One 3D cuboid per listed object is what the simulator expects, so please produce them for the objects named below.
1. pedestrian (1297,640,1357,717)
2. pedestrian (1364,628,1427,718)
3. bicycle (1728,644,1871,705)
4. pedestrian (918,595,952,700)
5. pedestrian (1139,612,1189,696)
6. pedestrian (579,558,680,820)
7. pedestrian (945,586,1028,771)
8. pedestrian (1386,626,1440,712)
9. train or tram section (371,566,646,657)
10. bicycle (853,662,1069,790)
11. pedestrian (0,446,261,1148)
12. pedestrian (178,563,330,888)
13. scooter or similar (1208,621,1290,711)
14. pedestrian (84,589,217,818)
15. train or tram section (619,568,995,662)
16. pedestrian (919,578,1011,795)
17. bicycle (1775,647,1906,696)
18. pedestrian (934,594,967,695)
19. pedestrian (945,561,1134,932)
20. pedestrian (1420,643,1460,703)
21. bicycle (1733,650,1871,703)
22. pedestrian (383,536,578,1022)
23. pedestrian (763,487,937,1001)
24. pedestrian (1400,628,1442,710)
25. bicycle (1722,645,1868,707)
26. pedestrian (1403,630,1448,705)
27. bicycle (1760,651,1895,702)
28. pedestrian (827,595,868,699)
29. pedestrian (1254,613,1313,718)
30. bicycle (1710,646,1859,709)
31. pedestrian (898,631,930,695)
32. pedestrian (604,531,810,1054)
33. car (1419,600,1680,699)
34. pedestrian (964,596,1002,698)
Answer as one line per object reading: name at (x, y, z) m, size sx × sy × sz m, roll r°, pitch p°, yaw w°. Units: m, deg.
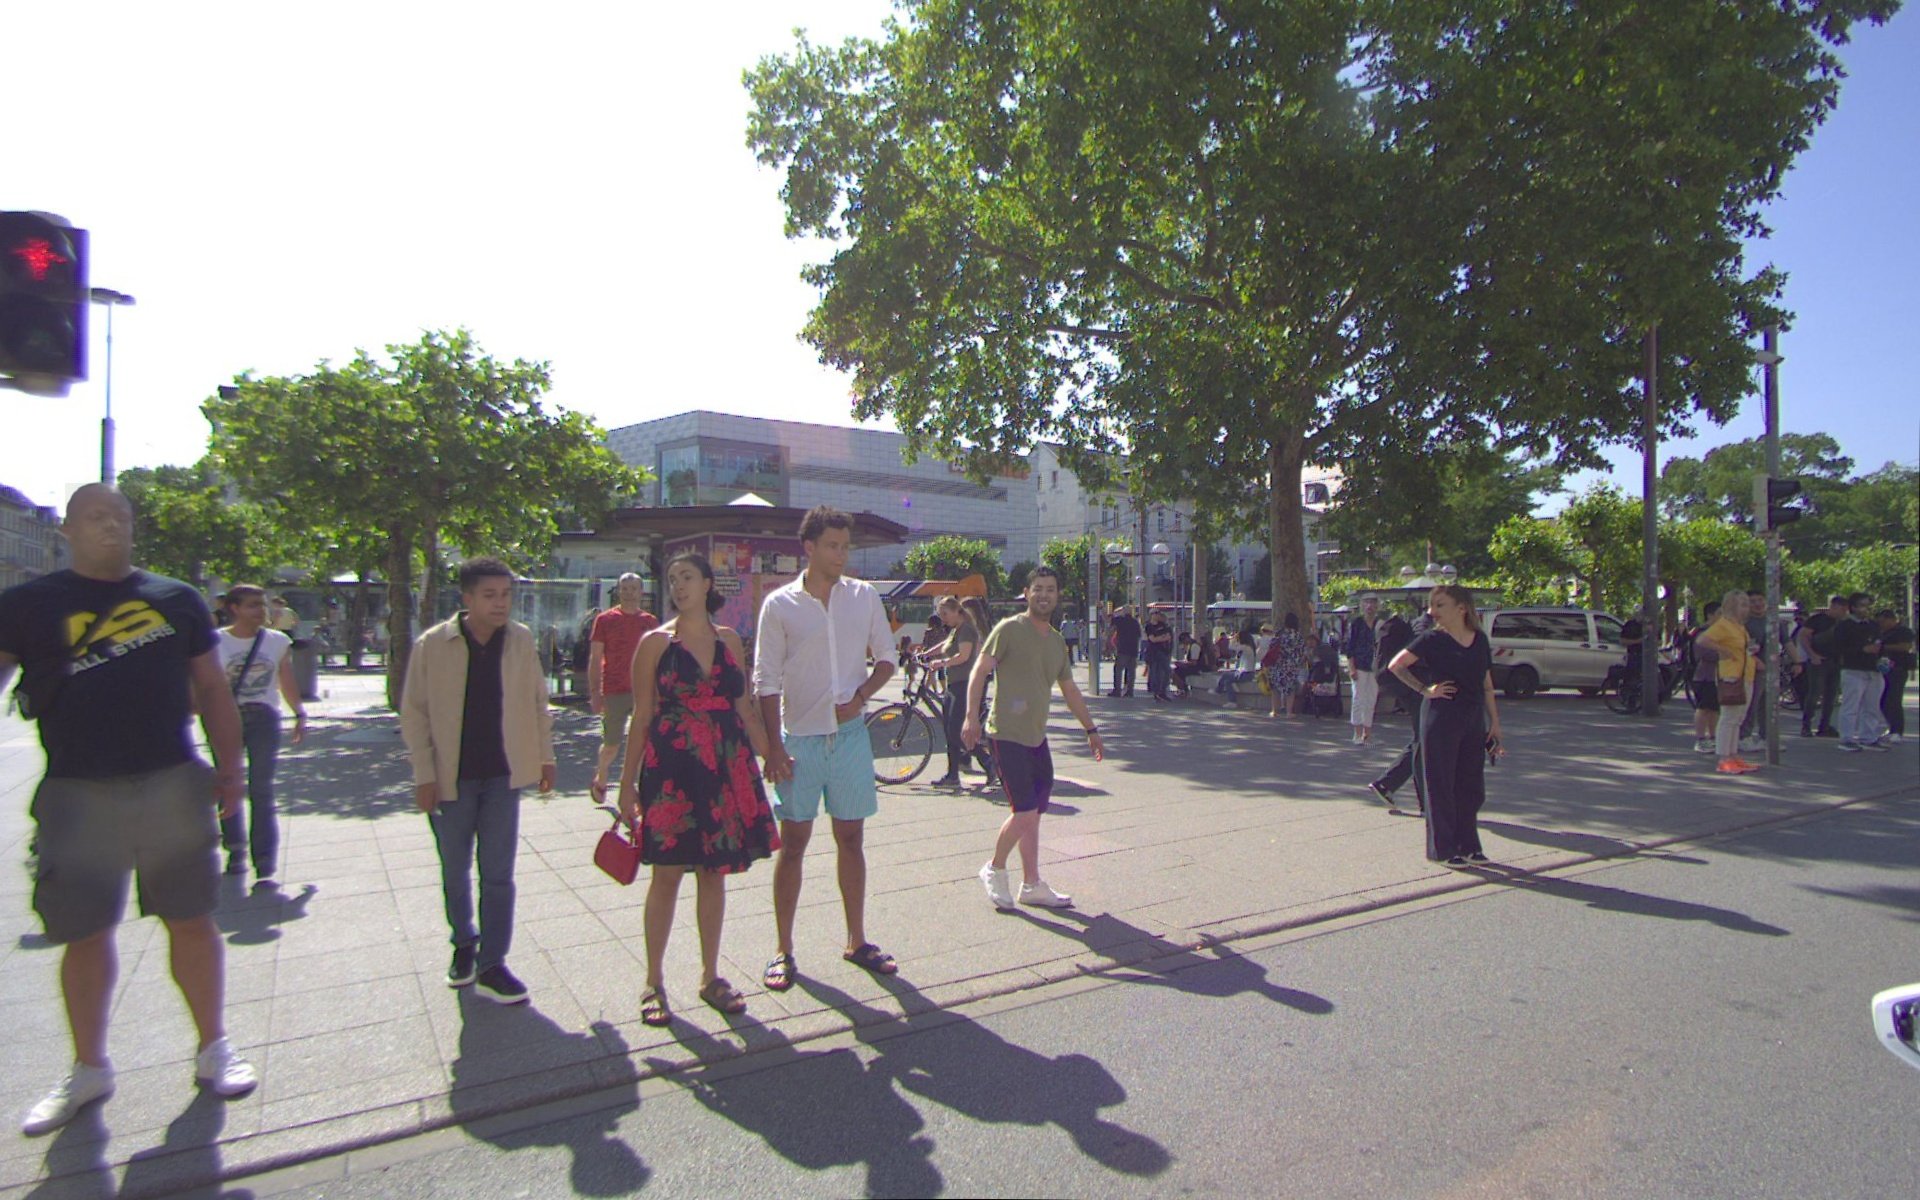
pedestrian at (5.711, 1.207, 15.659) m, size 0.653 × 1.159 × 0.634 m, roll 1°, pitch -1°, yaw -9°
pedestrian at (7.086, 1.166, 16.357) m, size 0.659 × 1.404 × 0.725 m, roll 1°, pitch -1°, yaw -37°
bicycle at (16.424, 1.433, 19.700) m, size 0.679 × 1.104 × 2.064 m, roll 2°, pitch -2°, yaw -41°
pedestrian at (-0.458, 0.866, 18.474) m, size 0.555 × 1.883 × 0.509 m, roll 1°, pitch -1°, yaw -9°
pedestrian at (3.704, 0.970, 18.267) m, size 0.717 × 1.498 × 0.634 m, roll 1°, pitch -1°, yaw -9°
pedestrian at (-2.545, 0.649, 7.704) m, size 0.655 × 1.904 × 0.628 m, roll 1°, pitch 0°, yaw -24°
pedestrian at (0.255, 0.740, 9.798) m, size 0.598 × 1.734 × 0.574 m, roll 1°, pitch 0°, yaw -24°
pedestrian at (7.633, 1.142, 16.932) m, size 0.651 × 1.404 × 0.661 m, roll 0°, pitch -1°, yaw 45°
train or tram section at (-19.152, 0.503, 42.829) m, size 10.779 × 3.725 × 2.623 m, roll 0°, pitch -1°, yaw 5°
bicycle at (0.017, 1.107, 9.099) m, size 1.903 × 1.042 × 0.489 m, roll 0°, pitch -1°, yaw -18°
pedestrian at (-2.591, 0.542, 3.082) m, size 0.645 × 1.916 × 0.573 m, roll 1°, pitch 0°, yaw -28°
pedestrian at (-4.074, 0.687, 5.833) m, size 0.598 × 1.762 × 0.574 m, roll 1°, pitch 0°, yaw -24°
scooter or similar at (4.818, 1.081, 16.829) m, size 1.018 × 1.439 × 1.281 m, roll 0°, pitch -1°, yaw 0°
pedestrian at (-5.796, 0.708, 7.220) m, size 0.598 × 1.553 × 0.574 m, roll 1°, pitch 0°, yaw -24°
train or tram section at (-6.216, 0.603, 41.662) m, size 15.233 × 3.725 × 2.623 m, roll 0°, pitch -1°, yaw 5°
pedestrian at (0.035, 0.725, 8.746) m, size 0.598 × 1.803 × 0.574 m, roll 1°, pitch 0°, yaw -24°
bicycle at (19.103, 1.533, 21.825) m, size 0.679 × 0.993 × 2.064 m, roll 2°, pitch -3°, yaw -41°
pedestrian at (-0.188, 0.840, 19.109) m, size 0.555 × 1.883 × 0.509 m, roll 1°, pitch -1°, yaw -9°
pedestrian at (0.404, 0.698, 5.182) m, size 0.779 × 1.745 × 0.582 m, roll 1°, pitch -1°, yaw -28°
pedestrian at (9.125, 1.377, 19.117) m, size 0.617 × 1.108 × 0.511 m, roll 0°, pitch -1°, yaw 16°
bicycle at (17.127, 1.538, 20.472) m, size 0.679 × 0.993 × 2.064 m, roll 2°, pitch -3°, yaw -41°
pedestrian at (-1.937, 0.655, 4.062) m, size 0.645 × 1.770 × 0.573 m, roll 1°, pitch 0°, yaw -28°
pedestrian at (-0.465, 0.550, 4.173) m, size 0.553 × 1.944 × 0.529 m, roll 1°, pitch -1°, yaw -28°
pedestrian at (8.072, 1.188, 17.589) m, size 0.648 × 1.404 × 0.664 m, roll 0°, pitch -1°, yaw 26°
bicycle at (15.947, 1.430, 19.236) m, size 0.679 × 1.104 × 2.064 m, roll 2°, pitch -2°, yaw -41°
pedestrian at (8.657, 1.244, 18.706) m, size 0.690 × 1.366 × 0.511 m, roll 0°, pitch -1°, yaw 17°
bicycle at (18.169, 1.584, 21.087) m, size 0.679 × 0.993 × 2.064 m, roll 2°, pitch -3°, yaw -41°
pedestrian at (-2.085, 0.853, 18.537) m, size 0.717 × 1.883 × 0.608 m, roll 1°, pitch -1°, yaw -9°
pedestrian at (4.966, 0.992, 15.429) m, size 0.653 × 1.586 × 0.634 m, roll 1°, pitch -1°, yaw -9°
bicycle at (15.414, 1.420, 18.822) m, size 0.679 × 1.104 × 2.064 m, roll 2°, pitch -2°, yaw -41°
pedestrian at (-0.870, 1.174, 18.929) m, size 0.555 × 1.174 × 0.509 m, roll 1°, pitch -1°, yaw -9°
pedestrian at (-0.975, 0.664, 3.839) m, size 0.630 × 1.781 × 0.574 m, roll 1°, pitch -1°, yaw -28°
car at (12.395, 1.027, 21.258) m, size 4.674 × 1.981 × 1.862 m, roll 1°, pitch -1°, yaw -9°
pedestrian at (0.438, 0.867, 18.774) m, size 0.537 × 1.883 × 0.504 m, roll 0°, pitch -1°, yaw 26°
